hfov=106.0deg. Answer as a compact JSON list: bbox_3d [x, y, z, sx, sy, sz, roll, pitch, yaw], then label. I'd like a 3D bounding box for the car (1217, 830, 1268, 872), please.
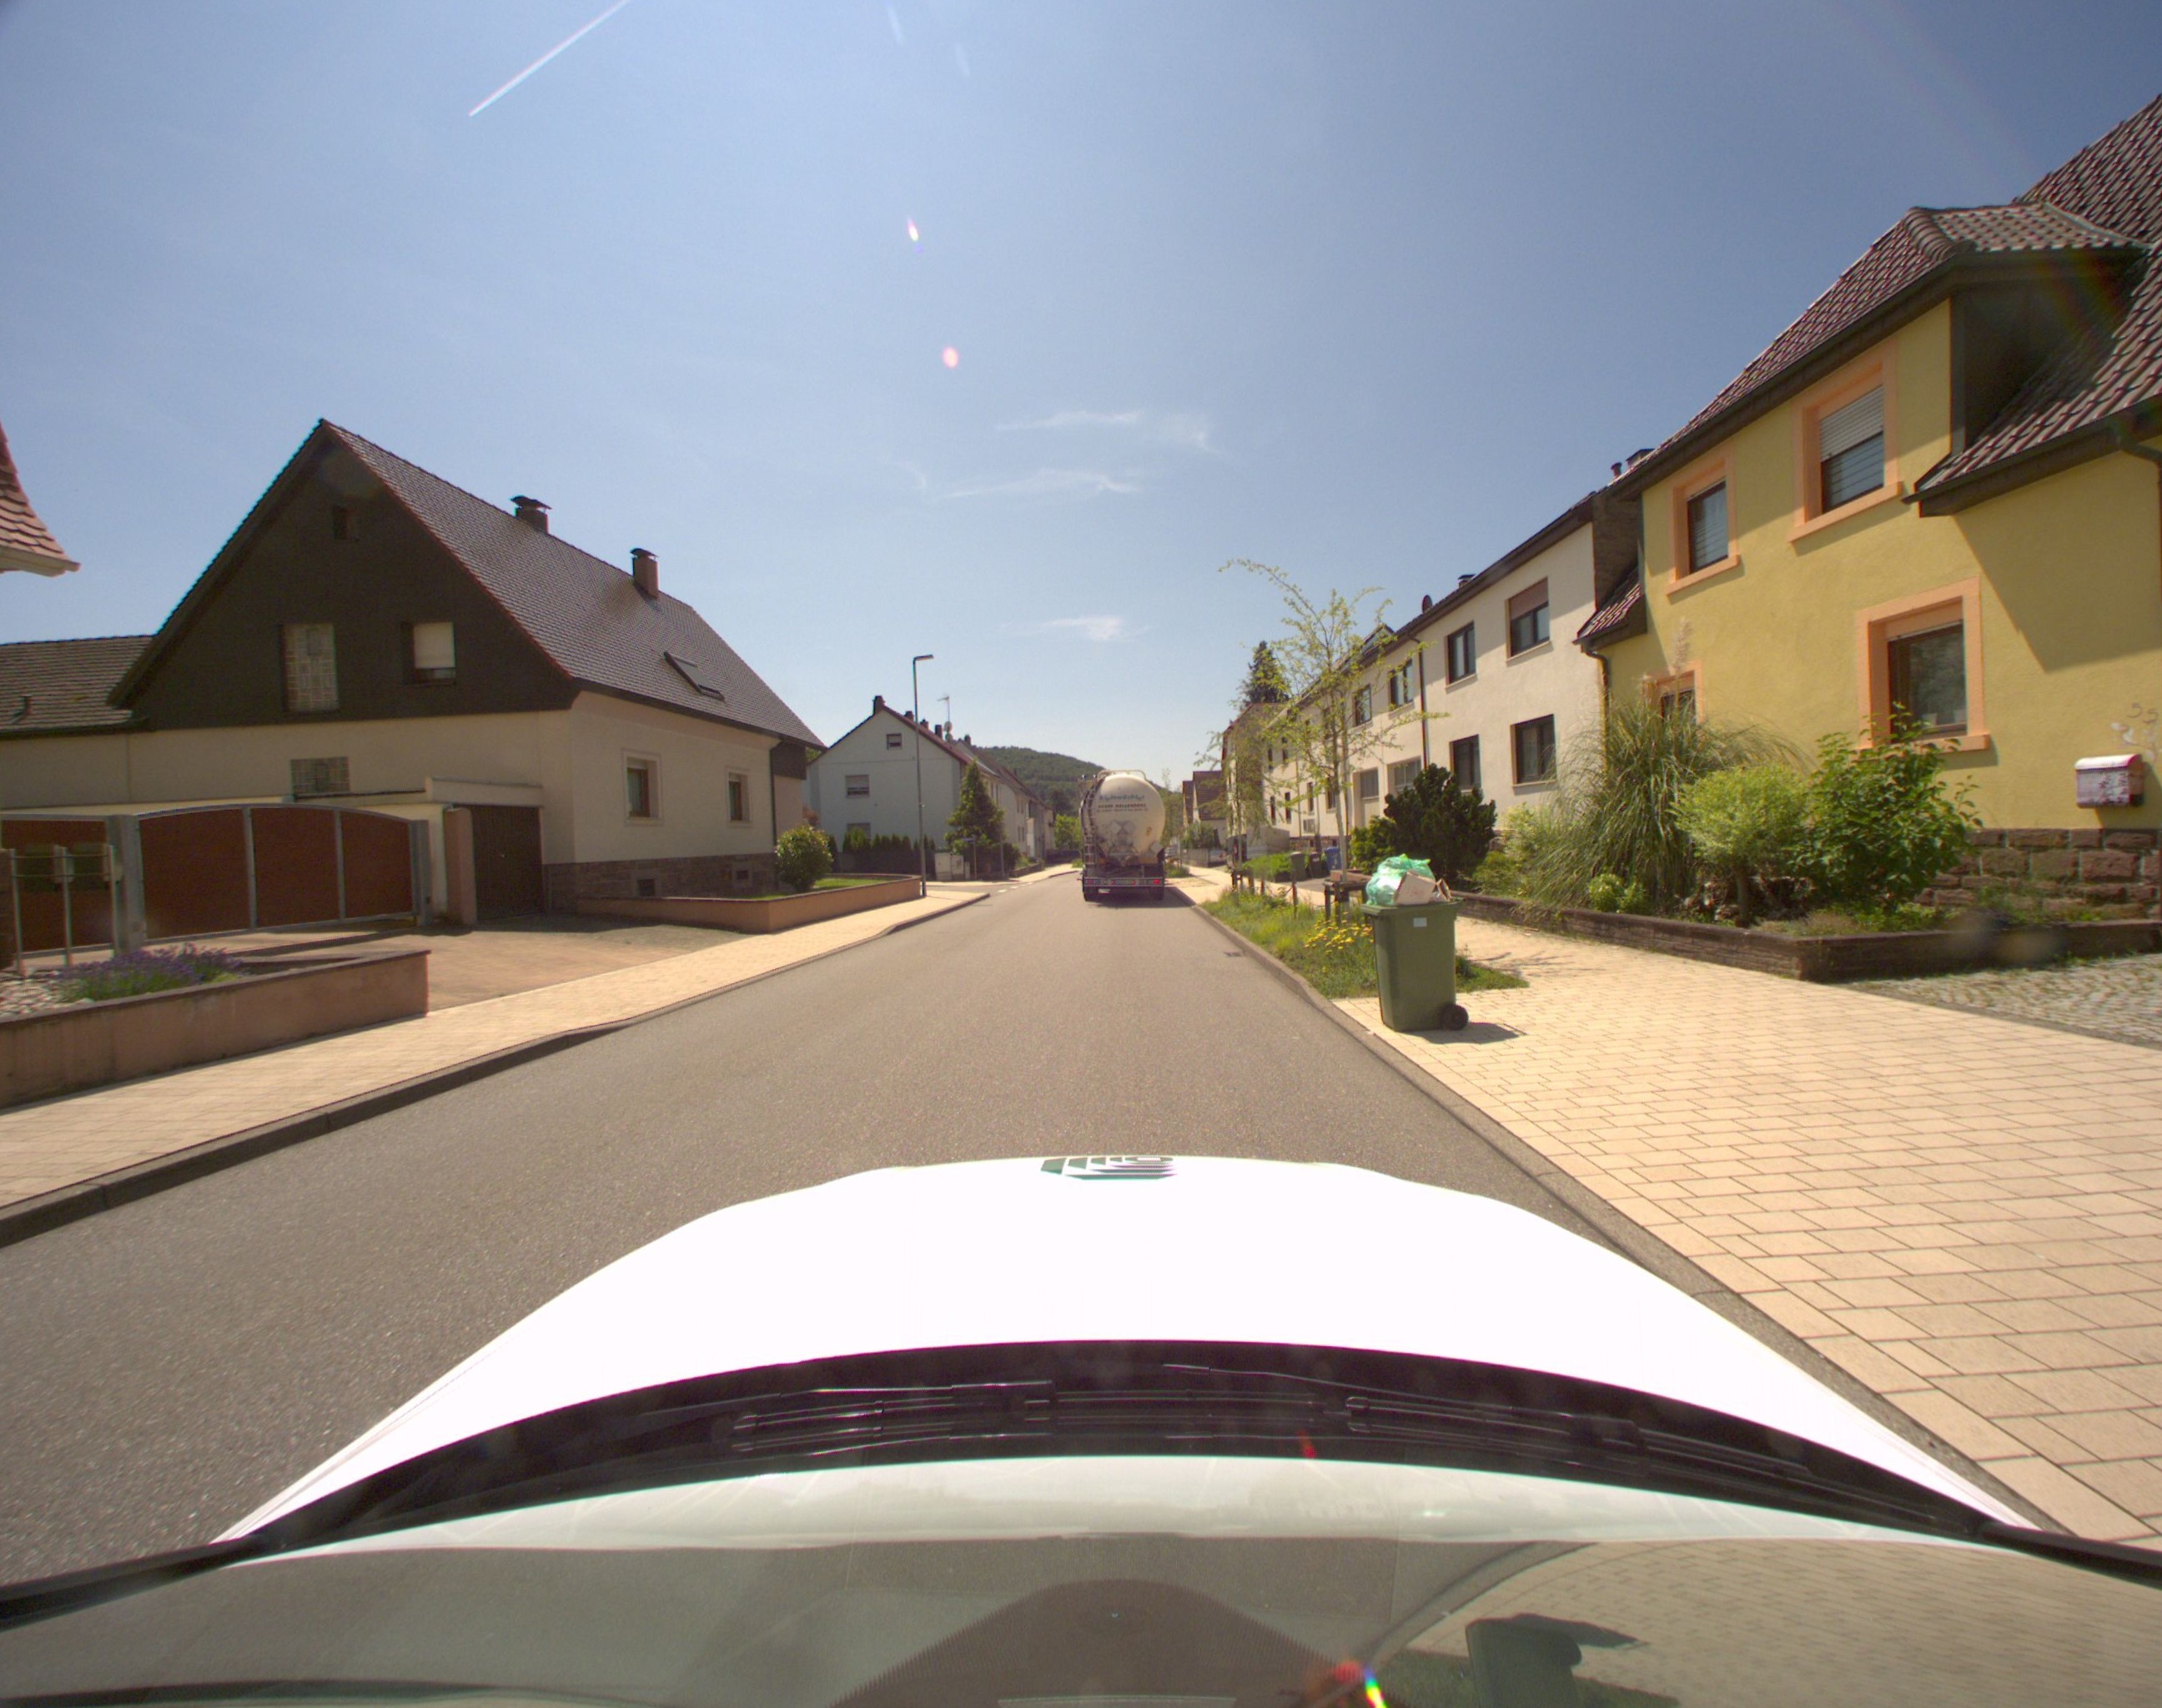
[{"bbox_3d":[8.733,-0.145,44.433,1.845,1.970,4.777,-8,0,3],"label":"car"}]

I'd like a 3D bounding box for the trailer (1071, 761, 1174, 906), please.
[{"bbox_3d":[1.470,-0.620,27.954,2.784,4.000,10.333,-1,0,3],"label":"trailer"}]

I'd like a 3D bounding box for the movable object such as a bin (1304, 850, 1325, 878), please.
[{"bbox_3d":[8.794,0.353,30.689,0.554,0.986,0.805,-6,-1,9],"label":"movable object such as a bin"}]

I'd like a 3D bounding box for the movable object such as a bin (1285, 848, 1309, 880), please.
[{"bbox_3d":[8.100,0.375,30.603,0.680,1.115,0.814,-6,-1,8],"label":"movable object such as a bin"}]

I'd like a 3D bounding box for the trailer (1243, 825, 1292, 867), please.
[{"bbox_3d":[9.157,-0.378,39.875,1.308,2.013,2.287,-1,0,45],"label":"trailer"}]

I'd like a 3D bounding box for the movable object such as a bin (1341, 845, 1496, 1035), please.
[{"bbox_3d":[2.749,0.665,6.736,0.789,1.395,0.925,-5,0,0],"label":"movable object such as a bin"}]

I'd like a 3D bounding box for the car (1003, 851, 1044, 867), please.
[{"bbox_3d":[-5.966,0.477,84.811,3.970,1.545,1.834,-1,0,3],"label":"car"}]

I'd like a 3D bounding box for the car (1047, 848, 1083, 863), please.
[{"bbox_3d":[-1.974,0.209,103.432,4.378,1.750,1.879,-2,0,1],"label":"car"}]

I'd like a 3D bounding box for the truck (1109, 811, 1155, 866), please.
[{"bbox_3d":[4.899,-1.471,80.570,3.897,4.895,9.797,-3,0,1],"label":"truck"}]

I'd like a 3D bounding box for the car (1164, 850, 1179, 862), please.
[{"bbox_3d":[12.540,0.248,113.287,1.783,1.541,4.525,-5,0,4],"label":"car"}]

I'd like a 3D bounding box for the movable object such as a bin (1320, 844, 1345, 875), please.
[{"bbox_3d":[9.465,0.210,30.631,0.681,1.106,0.865,-5,-1,9],"label":"movable object such as a bin"}]
